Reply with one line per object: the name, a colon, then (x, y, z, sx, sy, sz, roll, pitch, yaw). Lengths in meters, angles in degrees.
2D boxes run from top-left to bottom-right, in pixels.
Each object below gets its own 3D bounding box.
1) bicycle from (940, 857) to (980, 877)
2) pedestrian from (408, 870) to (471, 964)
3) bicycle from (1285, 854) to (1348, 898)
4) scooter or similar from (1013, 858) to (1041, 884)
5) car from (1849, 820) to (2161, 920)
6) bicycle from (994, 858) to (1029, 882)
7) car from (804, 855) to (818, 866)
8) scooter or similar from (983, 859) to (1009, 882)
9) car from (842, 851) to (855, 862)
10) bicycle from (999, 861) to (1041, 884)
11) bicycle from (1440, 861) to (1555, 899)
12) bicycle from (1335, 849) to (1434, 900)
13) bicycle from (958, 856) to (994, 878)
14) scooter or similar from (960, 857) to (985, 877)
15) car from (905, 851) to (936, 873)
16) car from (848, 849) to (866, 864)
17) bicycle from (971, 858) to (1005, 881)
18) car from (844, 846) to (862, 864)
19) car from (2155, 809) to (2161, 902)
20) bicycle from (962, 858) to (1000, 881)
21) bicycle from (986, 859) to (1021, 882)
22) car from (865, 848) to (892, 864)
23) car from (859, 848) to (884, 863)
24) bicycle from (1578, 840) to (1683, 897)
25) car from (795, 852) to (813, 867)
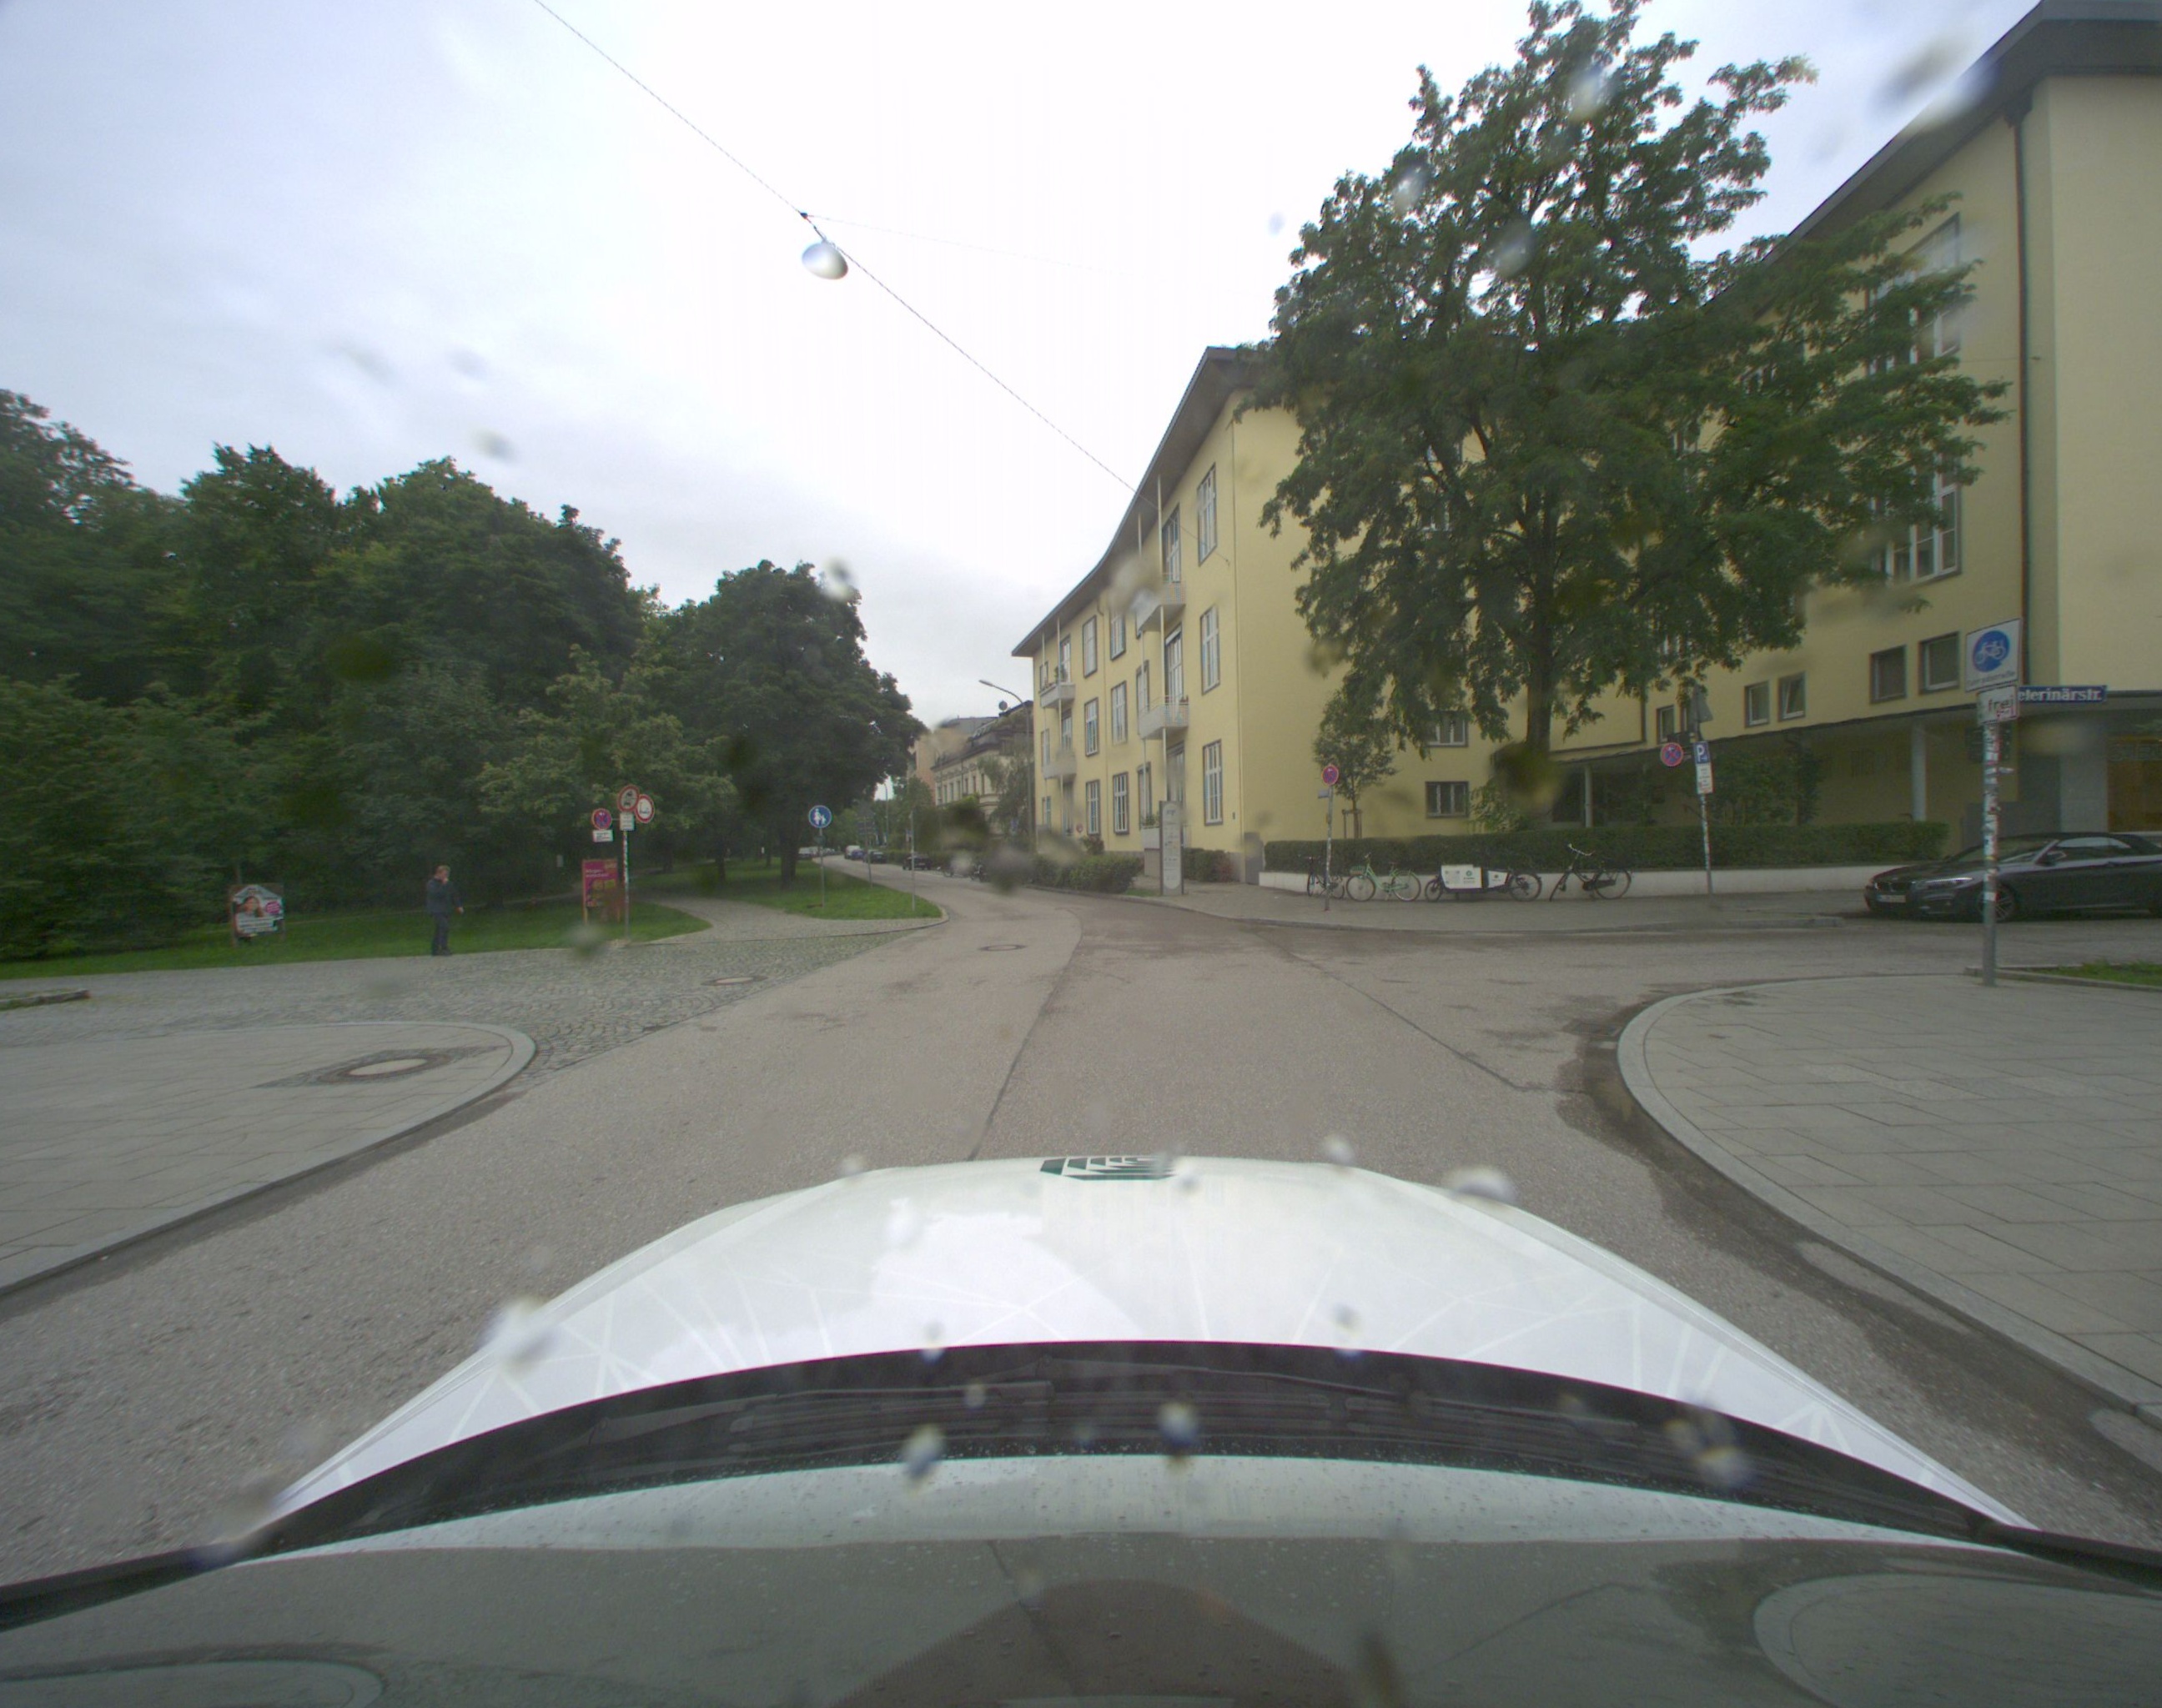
bicycle: (-7.506, 0.814, 50.622, 2.343, 1.085, 0.687, -3, 1, -26)
pedestrian: (-12.647, 1.219, 16.081, 0.731, 1.752, 0.656, -2, 0, -16)
bicycle: (6.211, 0.558, 21.585, 0.608, 1.072, 2.208, -3, 0, -11)
scooter or similar: (-2.436, 0.778, 37.053, 0.490, 1.109, 1.419, -2, 1, 33)
car: (15.561, 0.250, 13.478, 3.957, 1.435, 1.608, -3, -1, 5)
bicycle: (-3.471, 0.809, 40.667, 0.570, 1.085, 1.946, -2, 1, 37)
car: (-45.619, 1.092, 137.521, 2.001, 1.837, 3.973, -3, 0, -20)
scooter or similar: (-4.329, 0.821, 41.677, 0.490, 1.088, 1.419, -2, 1, 33)
car: (-36.431, 0.350, 127.301, 1.650, 1.652, 4.255, -2, 0, -20)
bicycle: (-2.876, 0.869, 38.396, 1.831, 1.005, 0.573, -3, 0, -23)
bicycle: (9.018, 0.577, 17.716, 2.190, 0.779, 0.614, -1, 0, 25)
bicycle: (7.120, 0.475, 19.243, 0.613, 1.117, 2.192, -2, 0, -37)
bicycle: (-5.733, 0.715, 44.676, 0.755, 1.085, 2.154, -2, 1, 29)
scooter or similar: (-6.504, 0.787, 48.836, 1.402, 1.088, 0.596, -3, 0, -3)
car: (-12.852, 0.609, 64.964, 1.868, 1.633, 4.257, -3, 1, -18)
car: (-29.627, 0.352, 107.619, 1.882, 1.815, 3.972, -3, 0, -21)
bicycle: (-4.797, 0.780, 42.068, 0.631, 1.085, 1.998, -2, 1, 29)
car: (-32.621, 0.147, 116.512, 1.882, 2.568, 4.897, -3, 0, -21)
car: (20.973, -0.078, 13.238, 4.249, 1.634, 1.852, -3, -1, 4)
bicycle: (-5.229, 0.791, 42.844, 0.689, 1.085, 2.353, -2, 1, 29)
bicycle: (-3.902, 0.836, 41.275, 0.570, 1.085, 1.946, -2, 1, 37)
car: (-22.041, 0.236, 88.536, 2.184, 1.657, 4.474, -3, 1, -21)
car: (-24.216, 0.185, 94.096, 2.184, 1.657, 4.474, -3, 1, -21)
bicycle: (11.575, 0.304, 17.195, 1.724, 1.150, 0.612, -2, 0, 9)
car: (-35.936, 0.687, 105.577, 2.001, 1.837, 3.973, -3, 0, -20)
